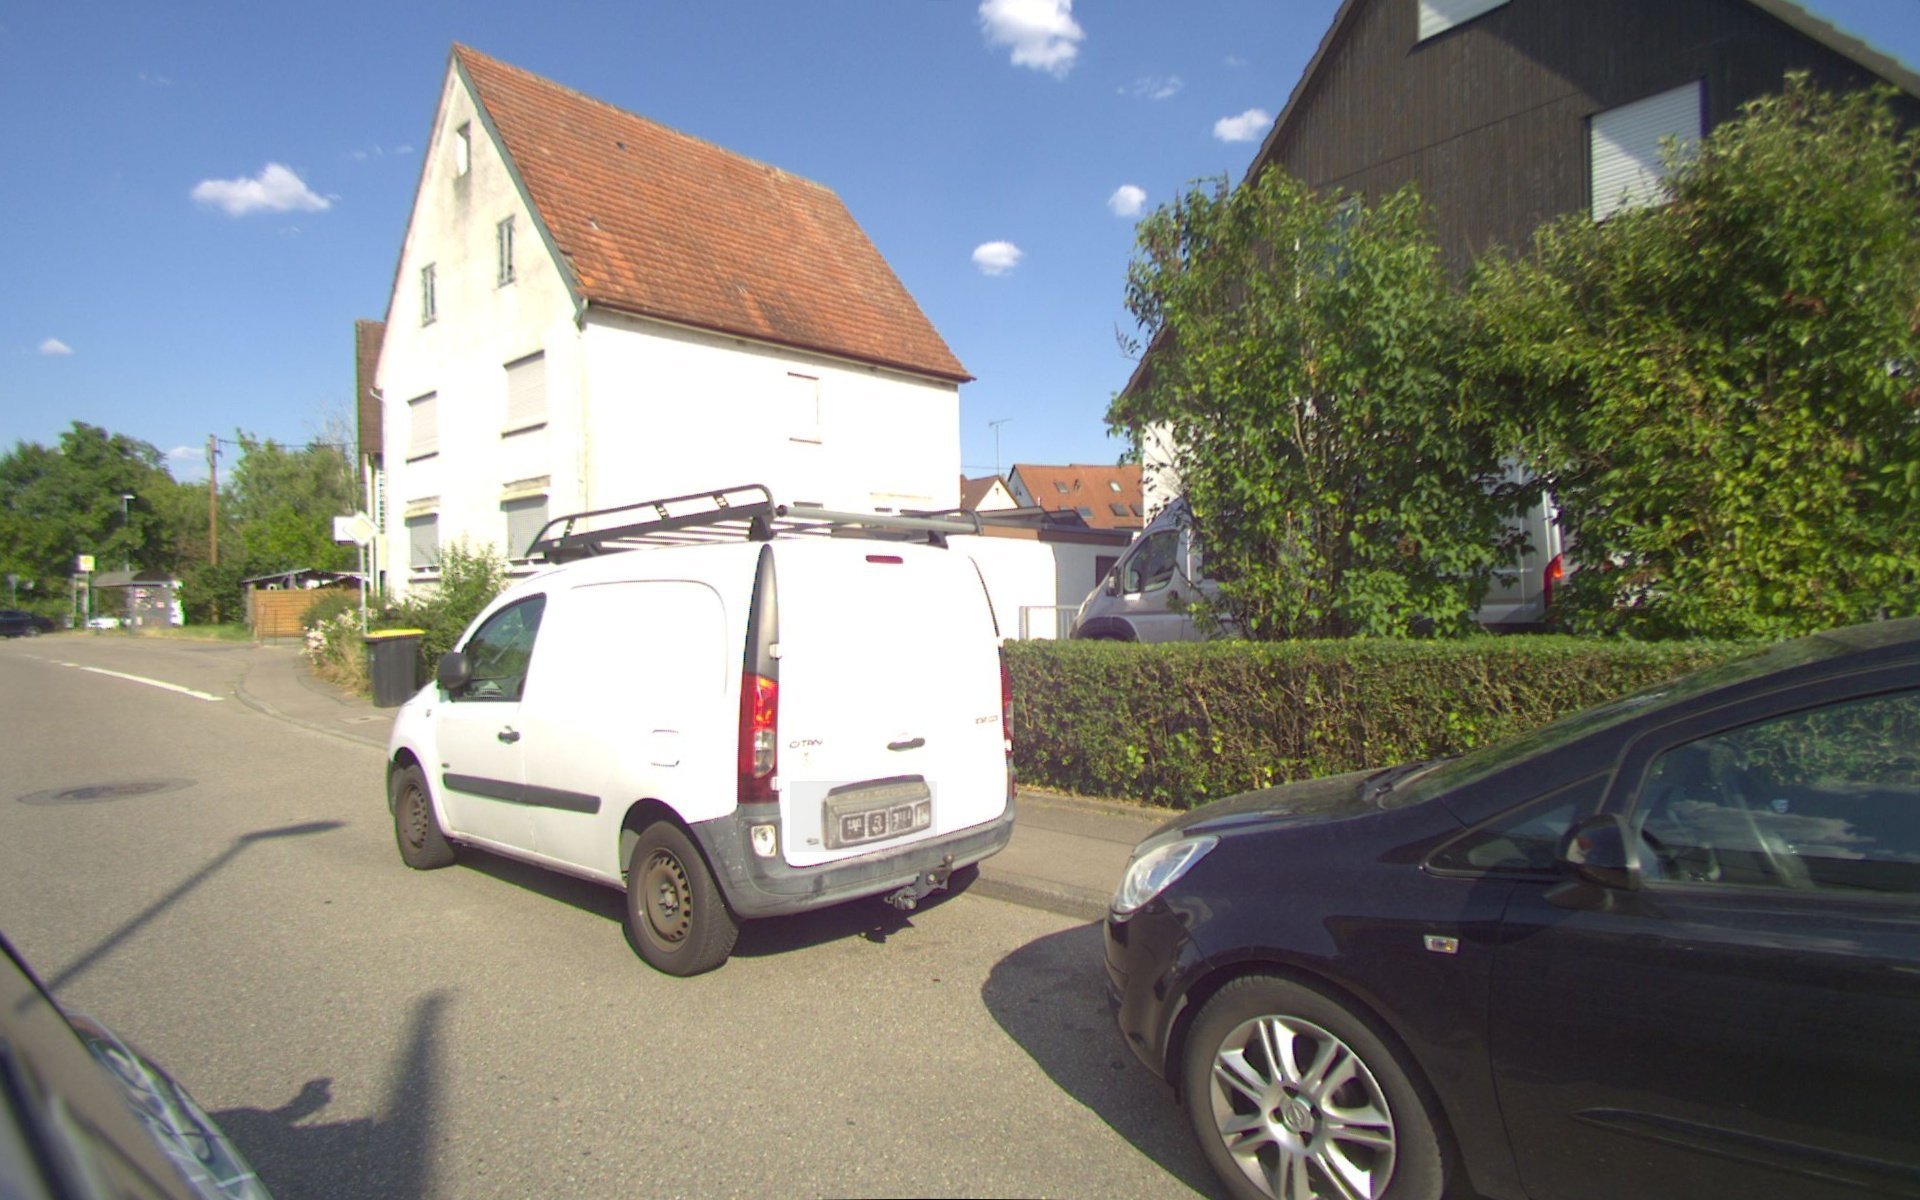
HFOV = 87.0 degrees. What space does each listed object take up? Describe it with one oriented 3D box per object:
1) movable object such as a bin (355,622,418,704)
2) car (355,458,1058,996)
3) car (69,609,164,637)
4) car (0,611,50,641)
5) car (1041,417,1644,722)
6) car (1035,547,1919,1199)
[{"bbox_3d":[-8.272,0.895,14.595,0.575,1.109,0.604,0,2,41],"label":"movable object such as a bin"},{"bbox_3d":[-1.663,0.475,5.588,4.190,1.887,1.698,-1,-1,41],"label":"car"},{"bbox_3d":[-48.458,1.280,58.284,1.837,1.503,4.272,0,0,2],"label":"car"},{"bbox_3d":[-47.769,1.309,49.380,1.757,1.442,4.815,0,0,18],"label":"car"},{"bbox_3d":[3.979,-0.251,11.614,2.134,2.615,6.097,-3,1,-45],"label":"car"},{"bbox_3d":[2.183,0.642,2.038,3.832,1.462,1.655,-1,-1,41],"label":"car"}]
